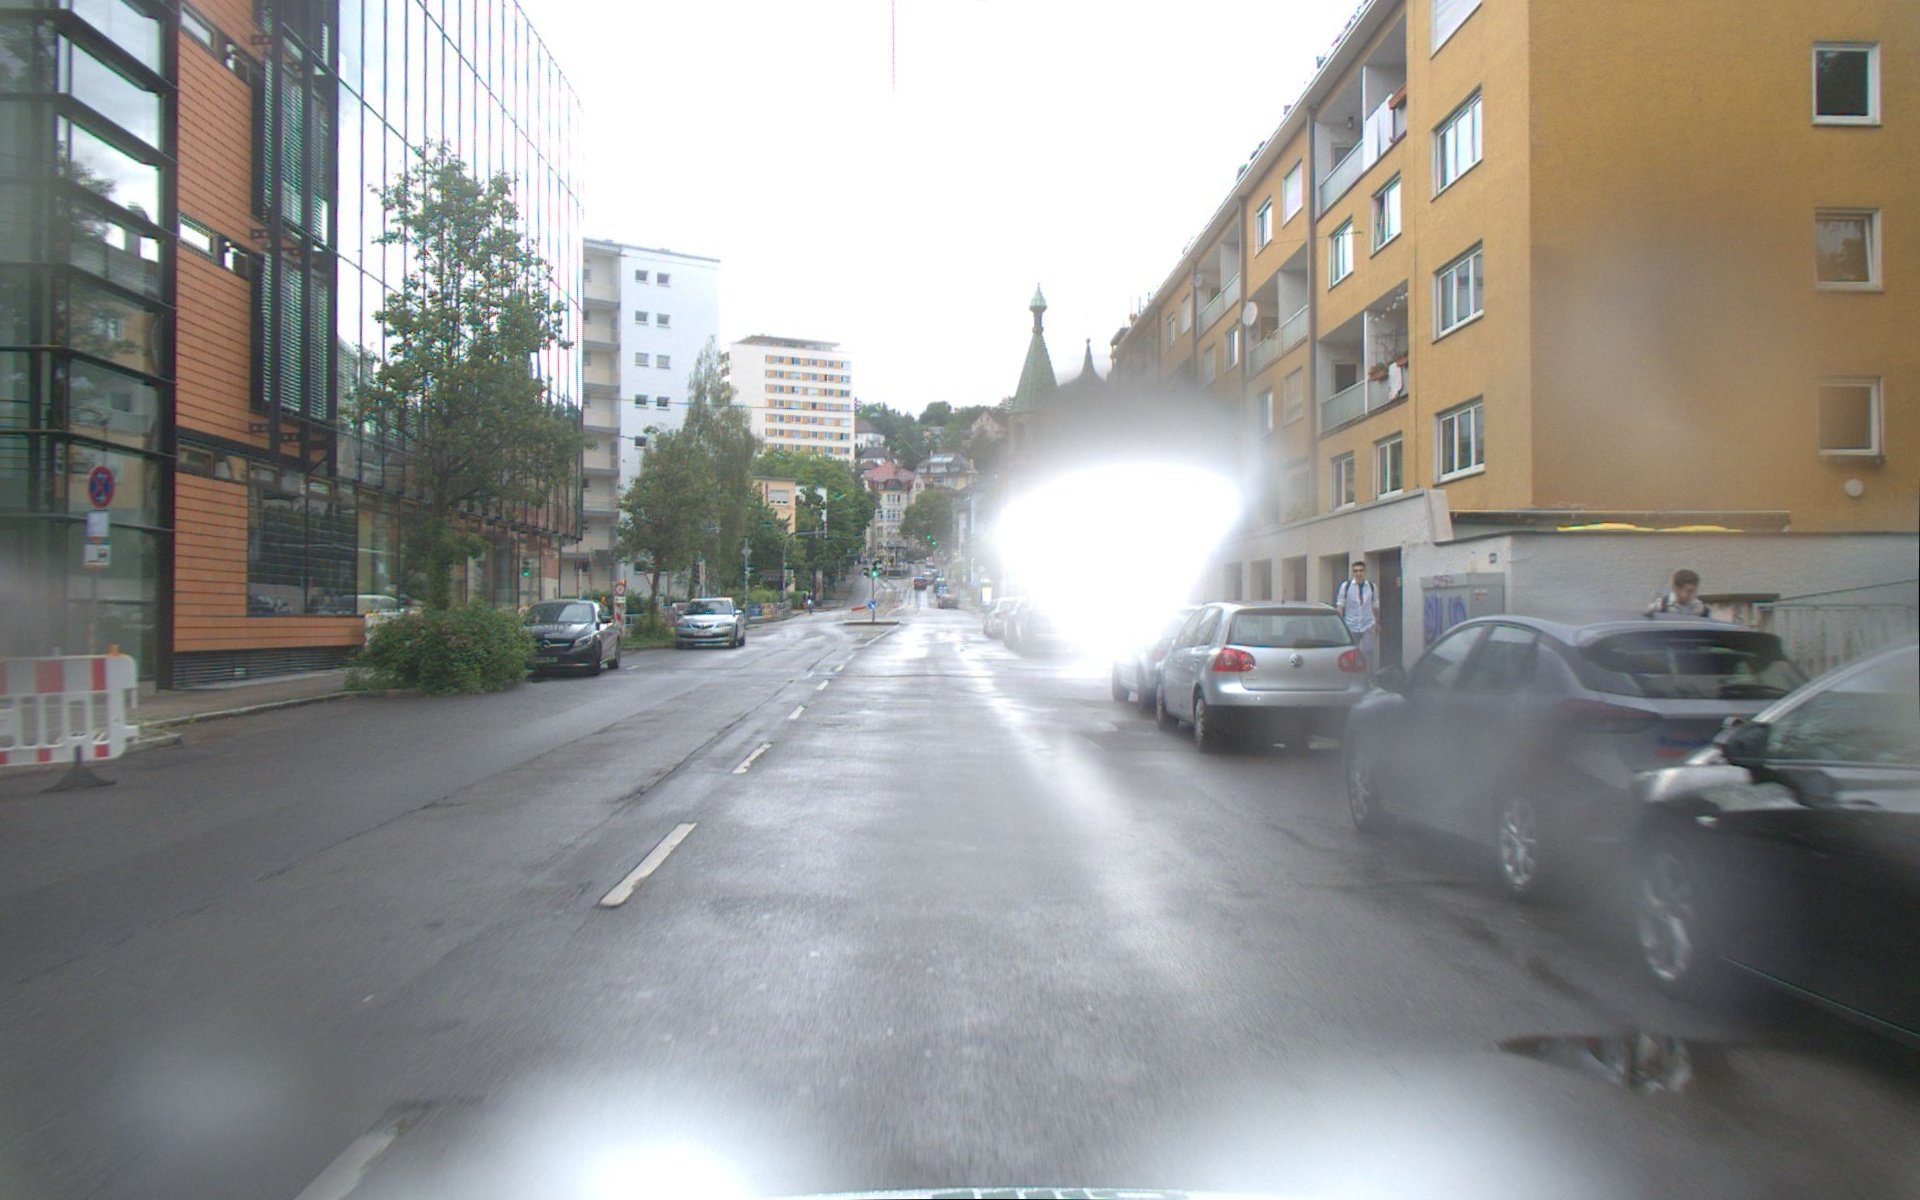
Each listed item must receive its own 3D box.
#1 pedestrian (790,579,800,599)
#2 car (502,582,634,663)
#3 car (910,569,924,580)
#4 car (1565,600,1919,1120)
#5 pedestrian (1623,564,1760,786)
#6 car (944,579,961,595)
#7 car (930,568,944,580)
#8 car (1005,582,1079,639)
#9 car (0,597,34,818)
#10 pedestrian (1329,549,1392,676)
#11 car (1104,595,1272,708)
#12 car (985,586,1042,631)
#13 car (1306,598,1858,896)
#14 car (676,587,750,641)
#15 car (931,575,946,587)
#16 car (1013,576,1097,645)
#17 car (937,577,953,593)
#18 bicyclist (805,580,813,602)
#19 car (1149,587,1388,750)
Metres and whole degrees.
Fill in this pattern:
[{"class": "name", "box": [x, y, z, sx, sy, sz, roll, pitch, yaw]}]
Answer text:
[{"class": "pedestrian", "box": [-15.740, -1.051, 157.655, 0.870, 1.926, 0.921, 0, 1, -8]}, {"class": "car", "box": [-7.712, 0.415, 32.923, 1.767, 1.476, 4.654, -1, 0, -4]}, {"class": "car", "box": [-6.217, -3.680, 238.796, 1.870, 1.536, 3.999, 1, 1, -2]}, {"class": "car", "box": [3.538, 0.752, 5.303, 1.630, 1.445, 4.041, 0, 1, -2]}, {"class": "pedestrian", "box": [5.642, 0.560, 12.797, 0.650, 1.631, 0.744, -4, 0, 2]}, {"class": "car", "box": [-0.832, -1.397, 177.816, 1.696, 1.682, 4.001, 0, 1, 1]}, {"class": "car", "box": [-3.230, -3.607, 230.366, 1.870, 1.536, 3.999, 2, 1, -2]}, {"class": "car", "box": [2.332, 0.270, 48.030, 1.781, 1.549, 4.075, 2, 1, -2]}, {"class": "car", "box": [-6.823, 0.703, 8.691, 1.689, 1.400, 4.340, -1, 0, -4]}, {"class": "pedestrian", "box": [5.744, 0.166, 23.702, 0.750, 1.762, 0.744, -2, 2, 21]}, {"class": "car", "box": [3.077, 0.648, 23.037, 1.630, 1.424, 3.919, 0, 0, -3]}, {"class": "car", "box": [1.920, 0.281, 60.502, 1.781, 1.549, 4.075, 2, 1, -2]}, {"class": "car", "box": [3.469, 0.728, 10.058, 1.631, 1.446, 3.917, 0, 0, -5]}, {"class": "car", "box": [-7.173, 0.382, 48.343, 1.675, 1.476, 4.292, -1, 0, -3]}, {"class": "car", "box": [-2.790, -2.486, 214.250, 1.854, 1.536, 3.999, 2, 1, -2]}, {"class": "car", "box": [2.418, 0.239, 43.093, 1.781, 1.681, 4.075, 2, 1, -2]}, {"class": "car", "box": [-1.671, -1.747, 189.205, 1.813, 1.797, 4.000, 1, 0, 0]}, {"class": "bicyclist", "box": [-11.755, -0.690, 128.736, 0.663, 1.690, 0.649, 0, 0, -5]}, {"class": "car", "box": [3.134, 0.633, 17.541, 1.630, 1.528, 3.919, 0, 0, -3]}]
